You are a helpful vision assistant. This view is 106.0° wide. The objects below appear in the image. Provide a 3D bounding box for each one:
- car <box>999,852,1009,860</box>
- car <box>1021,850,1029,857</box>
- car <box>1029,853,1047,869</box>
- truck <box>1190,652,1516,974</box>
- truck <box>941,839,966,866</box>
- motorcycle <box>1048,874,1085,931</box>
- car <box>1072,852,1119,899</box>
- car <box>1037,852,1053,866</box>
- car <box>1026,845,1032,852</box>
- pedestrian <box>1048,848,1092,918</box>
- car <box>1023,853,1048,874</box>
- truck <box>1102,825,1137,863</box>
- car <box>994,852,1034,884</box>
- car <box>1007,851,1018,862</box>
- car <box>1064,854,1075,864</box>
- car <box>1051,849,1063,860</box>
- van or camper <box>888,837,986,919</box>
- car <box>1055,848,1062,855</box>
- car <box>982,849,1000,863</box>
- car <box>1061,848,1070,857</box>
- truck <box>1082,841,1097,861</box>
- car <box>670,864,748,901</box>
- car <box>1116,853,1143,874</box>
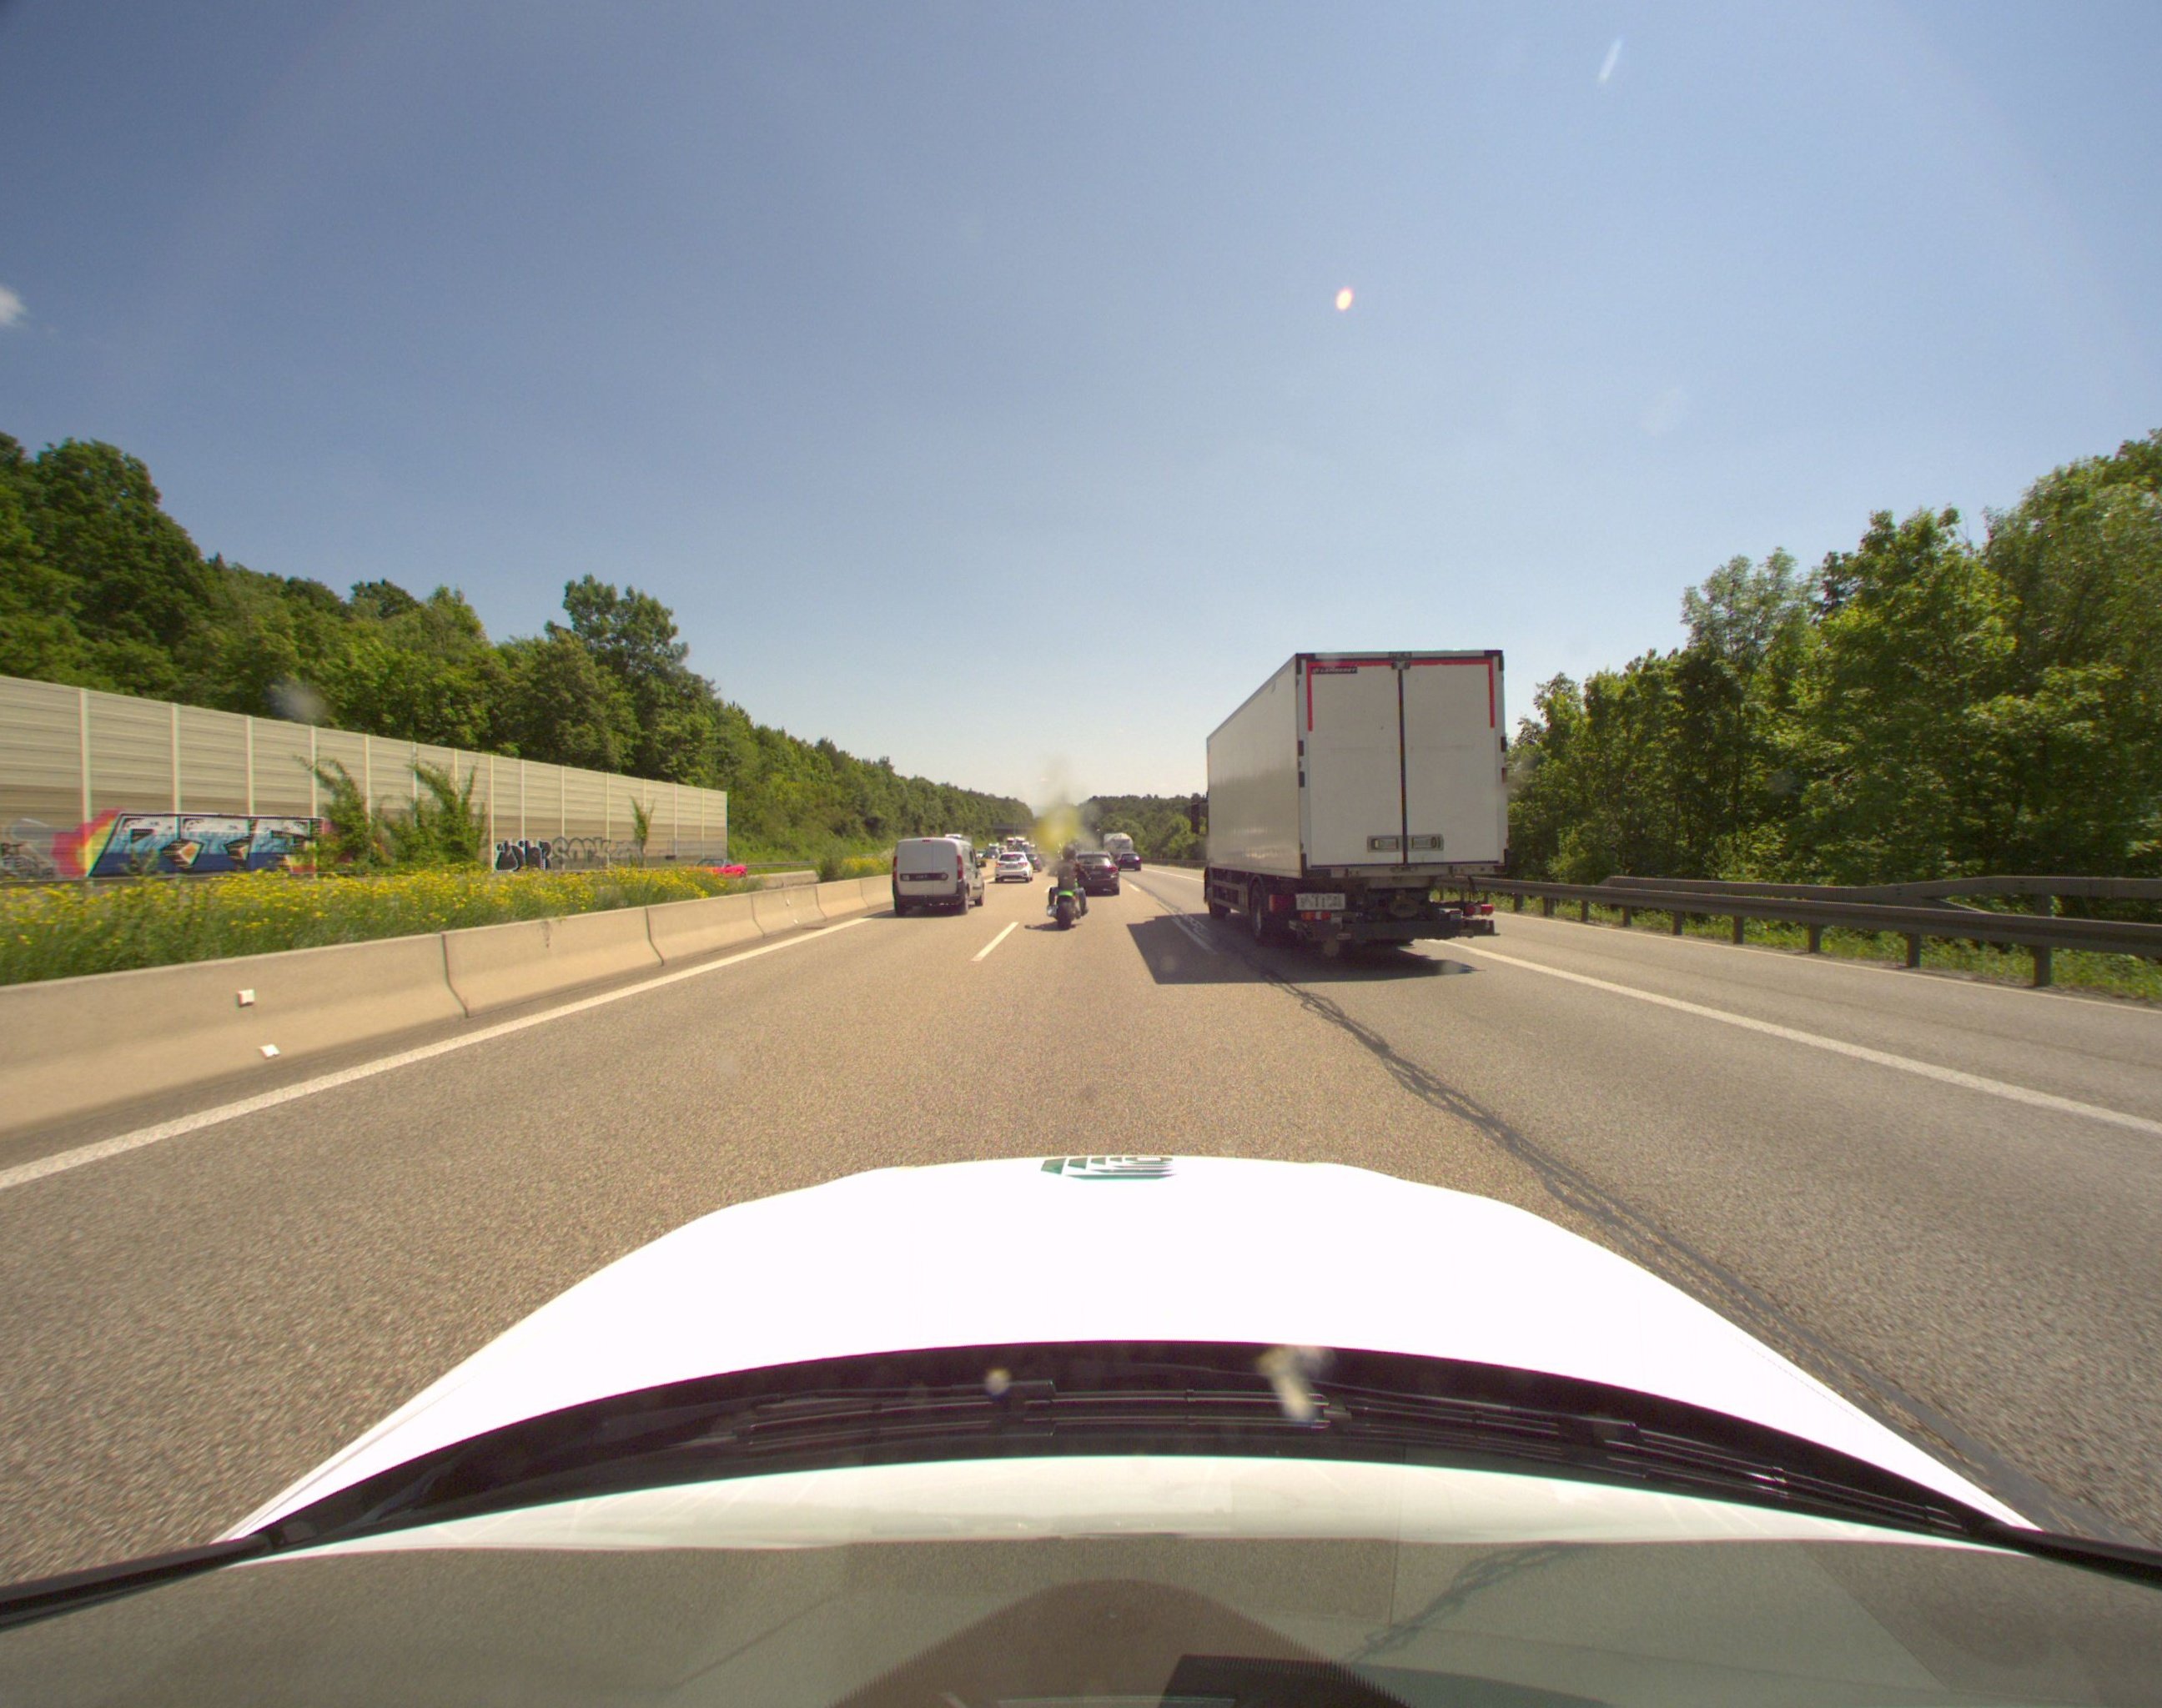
[{"bbox_3d":[-20.507,0.430,216.118,2.222,2.013,5.809,-1,0,-1],"label":"car"},{"bbox_3d":[-14.111,-0.130,205.034,1.706,1.538,4.125,-1,0,-2],"label":"car"},{"bbox_3d":[-4.309,0.657,82.399,1.694,1.478,3.998,1,1,-1],"label":"car"},{"bbox_3d":[3.982,-0.519,14.851,2.679,3.876,9.780,-1,0,1],"label":"truck"},{"bbox_3d":[-19.452,-0.172,124.870,2.805,3.908,7.310,-1,0,-2],"label":"truck"},{"bbox_3d":[-0.271,0.939,16.557,0.689,1.015,2.121,-1,0,0],"label":"motorcycle"},{"bbox_3d":[0.498,0.687,28.622,1.527,1.510,4.000,-1,0,0],"label":"car"},{"bbox_3d":[-4.125,0.515,93.455,1.694,1.478,3.998,1,1,-1],"label":"car"},{"bbox_3d":[-15.742,-1.726,247.261,1.887,1.948,3.996,-1,0,-3],"label":"car"},{"bbox_3d":[-0.215,0.563,16.521,0.846,1.362,0.961,-1,0,0],"label":"pedestrian"},{"bbox_3d":[-3.384,0.669,60.708,1.694,1.478,3.998,1,1,-1],"label":"car"},{"bbox_3d":[3.890,-0.931,84.618,2.979,3.671,9.283,-1,0,-1],"label":"truck"},{"bbox_3d":[-3.268,0.655,40.518,1.694,1.478,3.998,1,1,-1],"label":"car"},{"bbox_3d":[-12.157,0.435,145.649,1.759,2.013,3.997,-1,0,-2],"label":"car"},{"bbox_3d":[-1.646,0.699,118.494,1.388,1.463,2.779,-1,0,1],"label":"car"},{"bbox_3d":[-4.195,0.116,143.175,1.874,1.859,3.999,2,0,-1],"label":"car"},{"bbox_3d":[-3.620,0.577,21.171,1.790,1.892,4.158,-1,0,-1],"label":"van or camper"},{"bbox_3d":[-6.522,-0.608,237.965,1.924,2.014,3.999,-1,0,-1],"label":"car"},{"bbox_3d":[-11.655,0.274,105.799,1.678,1.698,4.658,-1,0,0],"label":"car"},{"bbox_3d":[-3.622,-0.383,190.049,1.798,2.014,3.995,-1,0,-3],"label":"car"},{"bbox_3d":[1.927,-0.691,191.162,3.025,4.542,9.978,2,0,-1],"label":"truck"},{"bbox_3d":[-17.713,1.318,39.009,1.733,1.640,4.189,-1,0,1],"label":"car"},{"bbox_3d":[3.814,0.724,64.536,1.823,1.470,3.998,2,0,-1],"label":"car"}]
